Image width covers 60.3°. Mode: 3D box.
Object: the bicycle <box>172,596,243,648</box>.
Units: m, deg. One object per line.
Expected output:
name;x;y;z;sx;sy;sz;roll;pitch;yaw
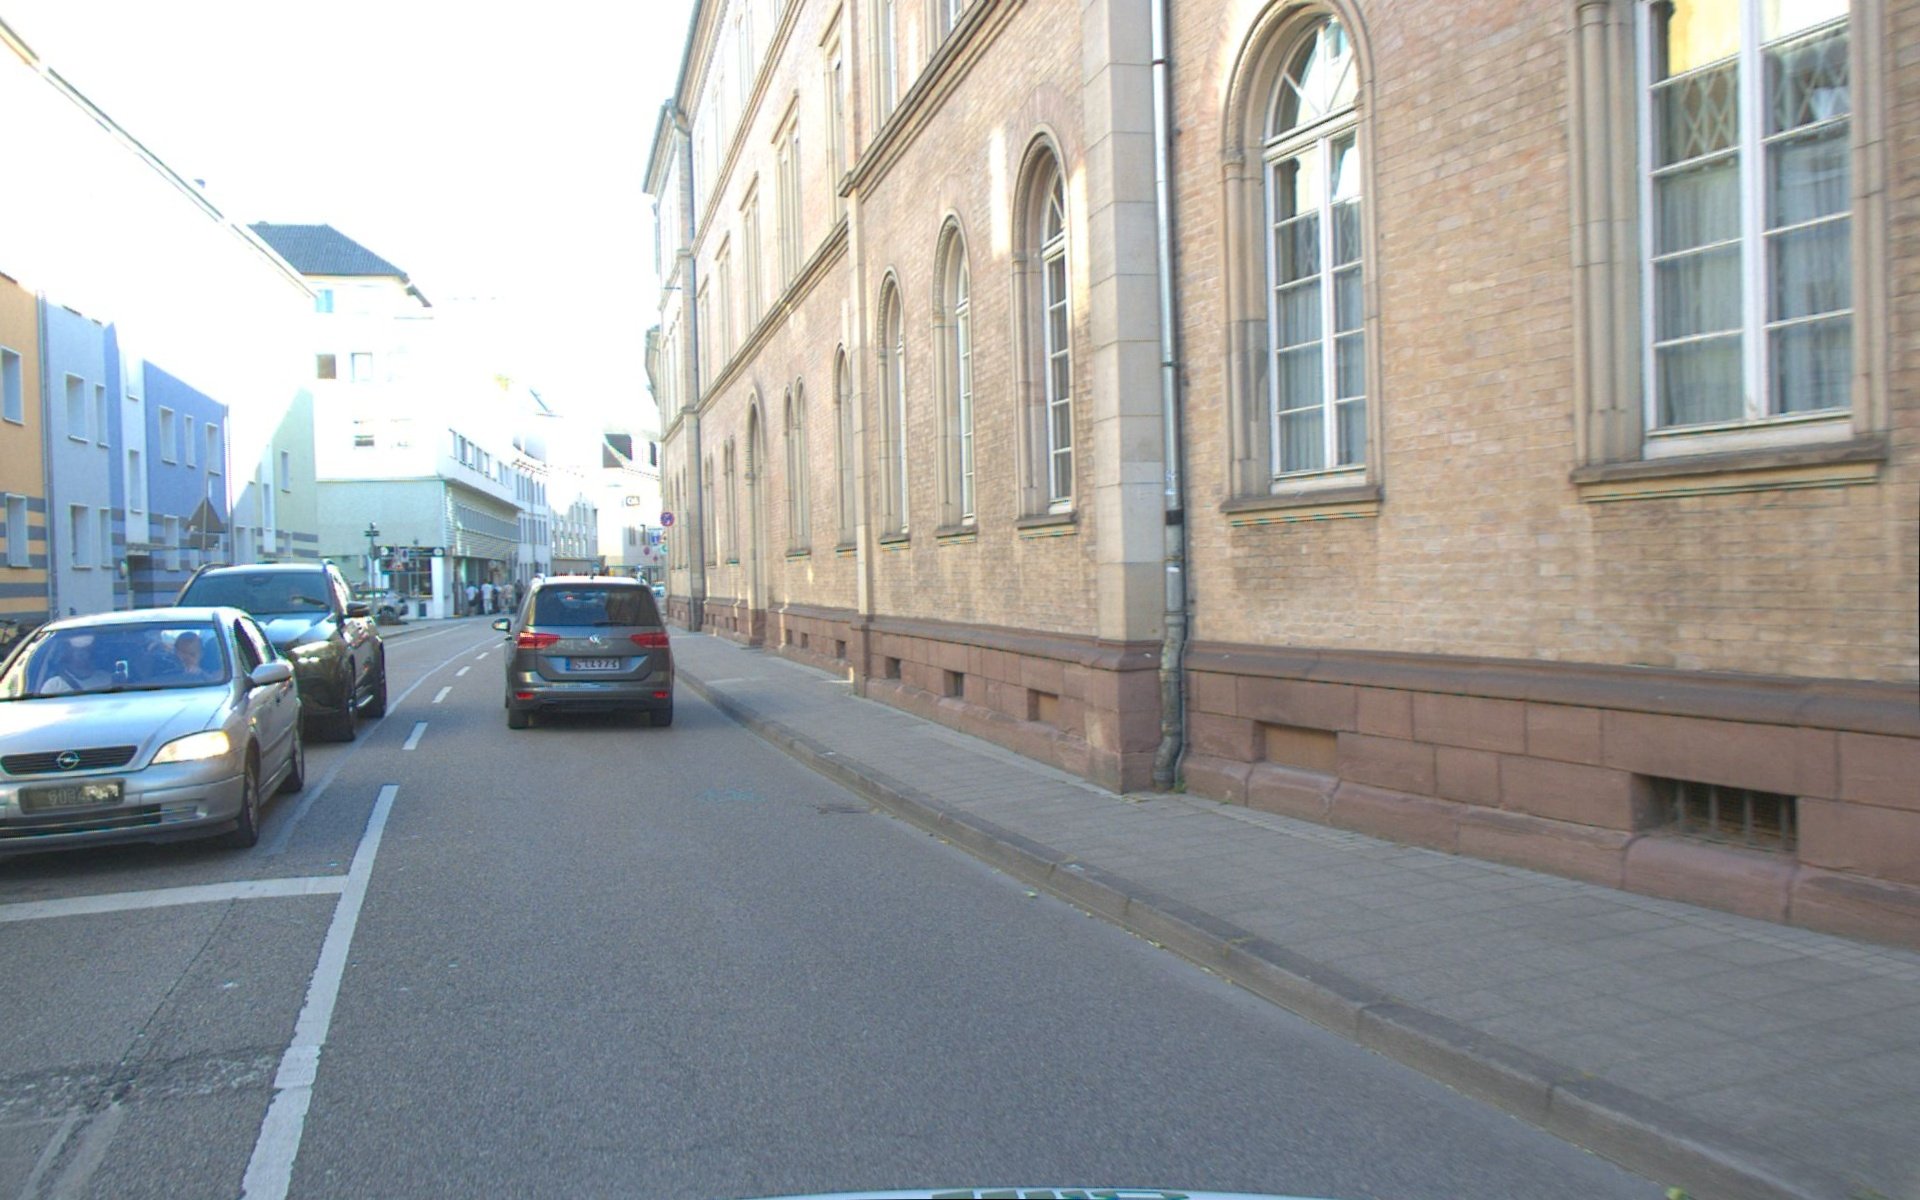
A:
bicycle;-19.213;0.557;42.255;1.558;1.263;0.447;-2;1;-15

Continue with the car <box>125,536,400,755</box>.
car;-7.164;0.373;17.531;1.869;1.866;5.075;-4;2;-15

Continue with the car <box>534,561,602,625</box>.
car;-12.412;-0.238;52.421;1.959;1.914;3.987;-2;1;-13

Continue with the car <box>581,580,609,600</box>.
car;-29.441;-0.803;133.537;1.830;1.494;3.828;-1;1;-7

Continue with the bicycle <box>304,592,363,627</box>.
bicycle;-21.853;0.335;57.699;1.901;1.200;0.610;1;0;-21

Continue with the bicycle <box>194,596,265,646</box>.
bicycle;-19.208;0.543;43.538;1.612;1.263;0.465;-2;1;-15

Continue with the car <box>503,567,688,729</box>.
car;-4.247;0.482;18.854;1.734;1.635;3.981;1;0;-17

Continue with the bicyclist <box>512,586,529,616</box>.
bicyclist;-24.148;0.062;90.861;0.815;1.589;0.758;-1;1;-9

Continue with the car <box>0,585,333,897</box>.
car;-5.189;0.723;10.553;1.712;1.511;4.120;-4;2;-15

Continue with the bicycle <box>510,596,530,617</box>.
bicycle;-24.140;0.328;90.766;0.815;1.072;2.544;-1;1;-9

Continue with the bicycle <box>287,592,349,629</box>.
bicycle;-21.818;0.358;56.206;1.906;1.200;0.608;1;0;-28

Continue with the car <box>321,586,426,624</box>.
car;-25.895;0.207;73.126;4.024;1.468;1.943;-2;1;-11

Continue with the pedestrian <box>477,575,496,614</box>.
pedestrian;-23.256;-0.282;81.198;0.543;1.861;0.731;-1;1;12

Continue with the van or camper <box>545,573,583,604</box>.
van or camper;-27.877;-0.841;116.573;1.955;2.048;4.477;-2;1;-6

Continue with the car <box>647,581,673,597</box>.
car;-29.778;-1.077;164.327;1.698;1.493;4.002;-2;1;2

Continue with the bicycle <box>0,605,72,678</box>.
bicycle;-15.995;0.705;27.859;1.727;1.165;0.646;-2;1;-22
